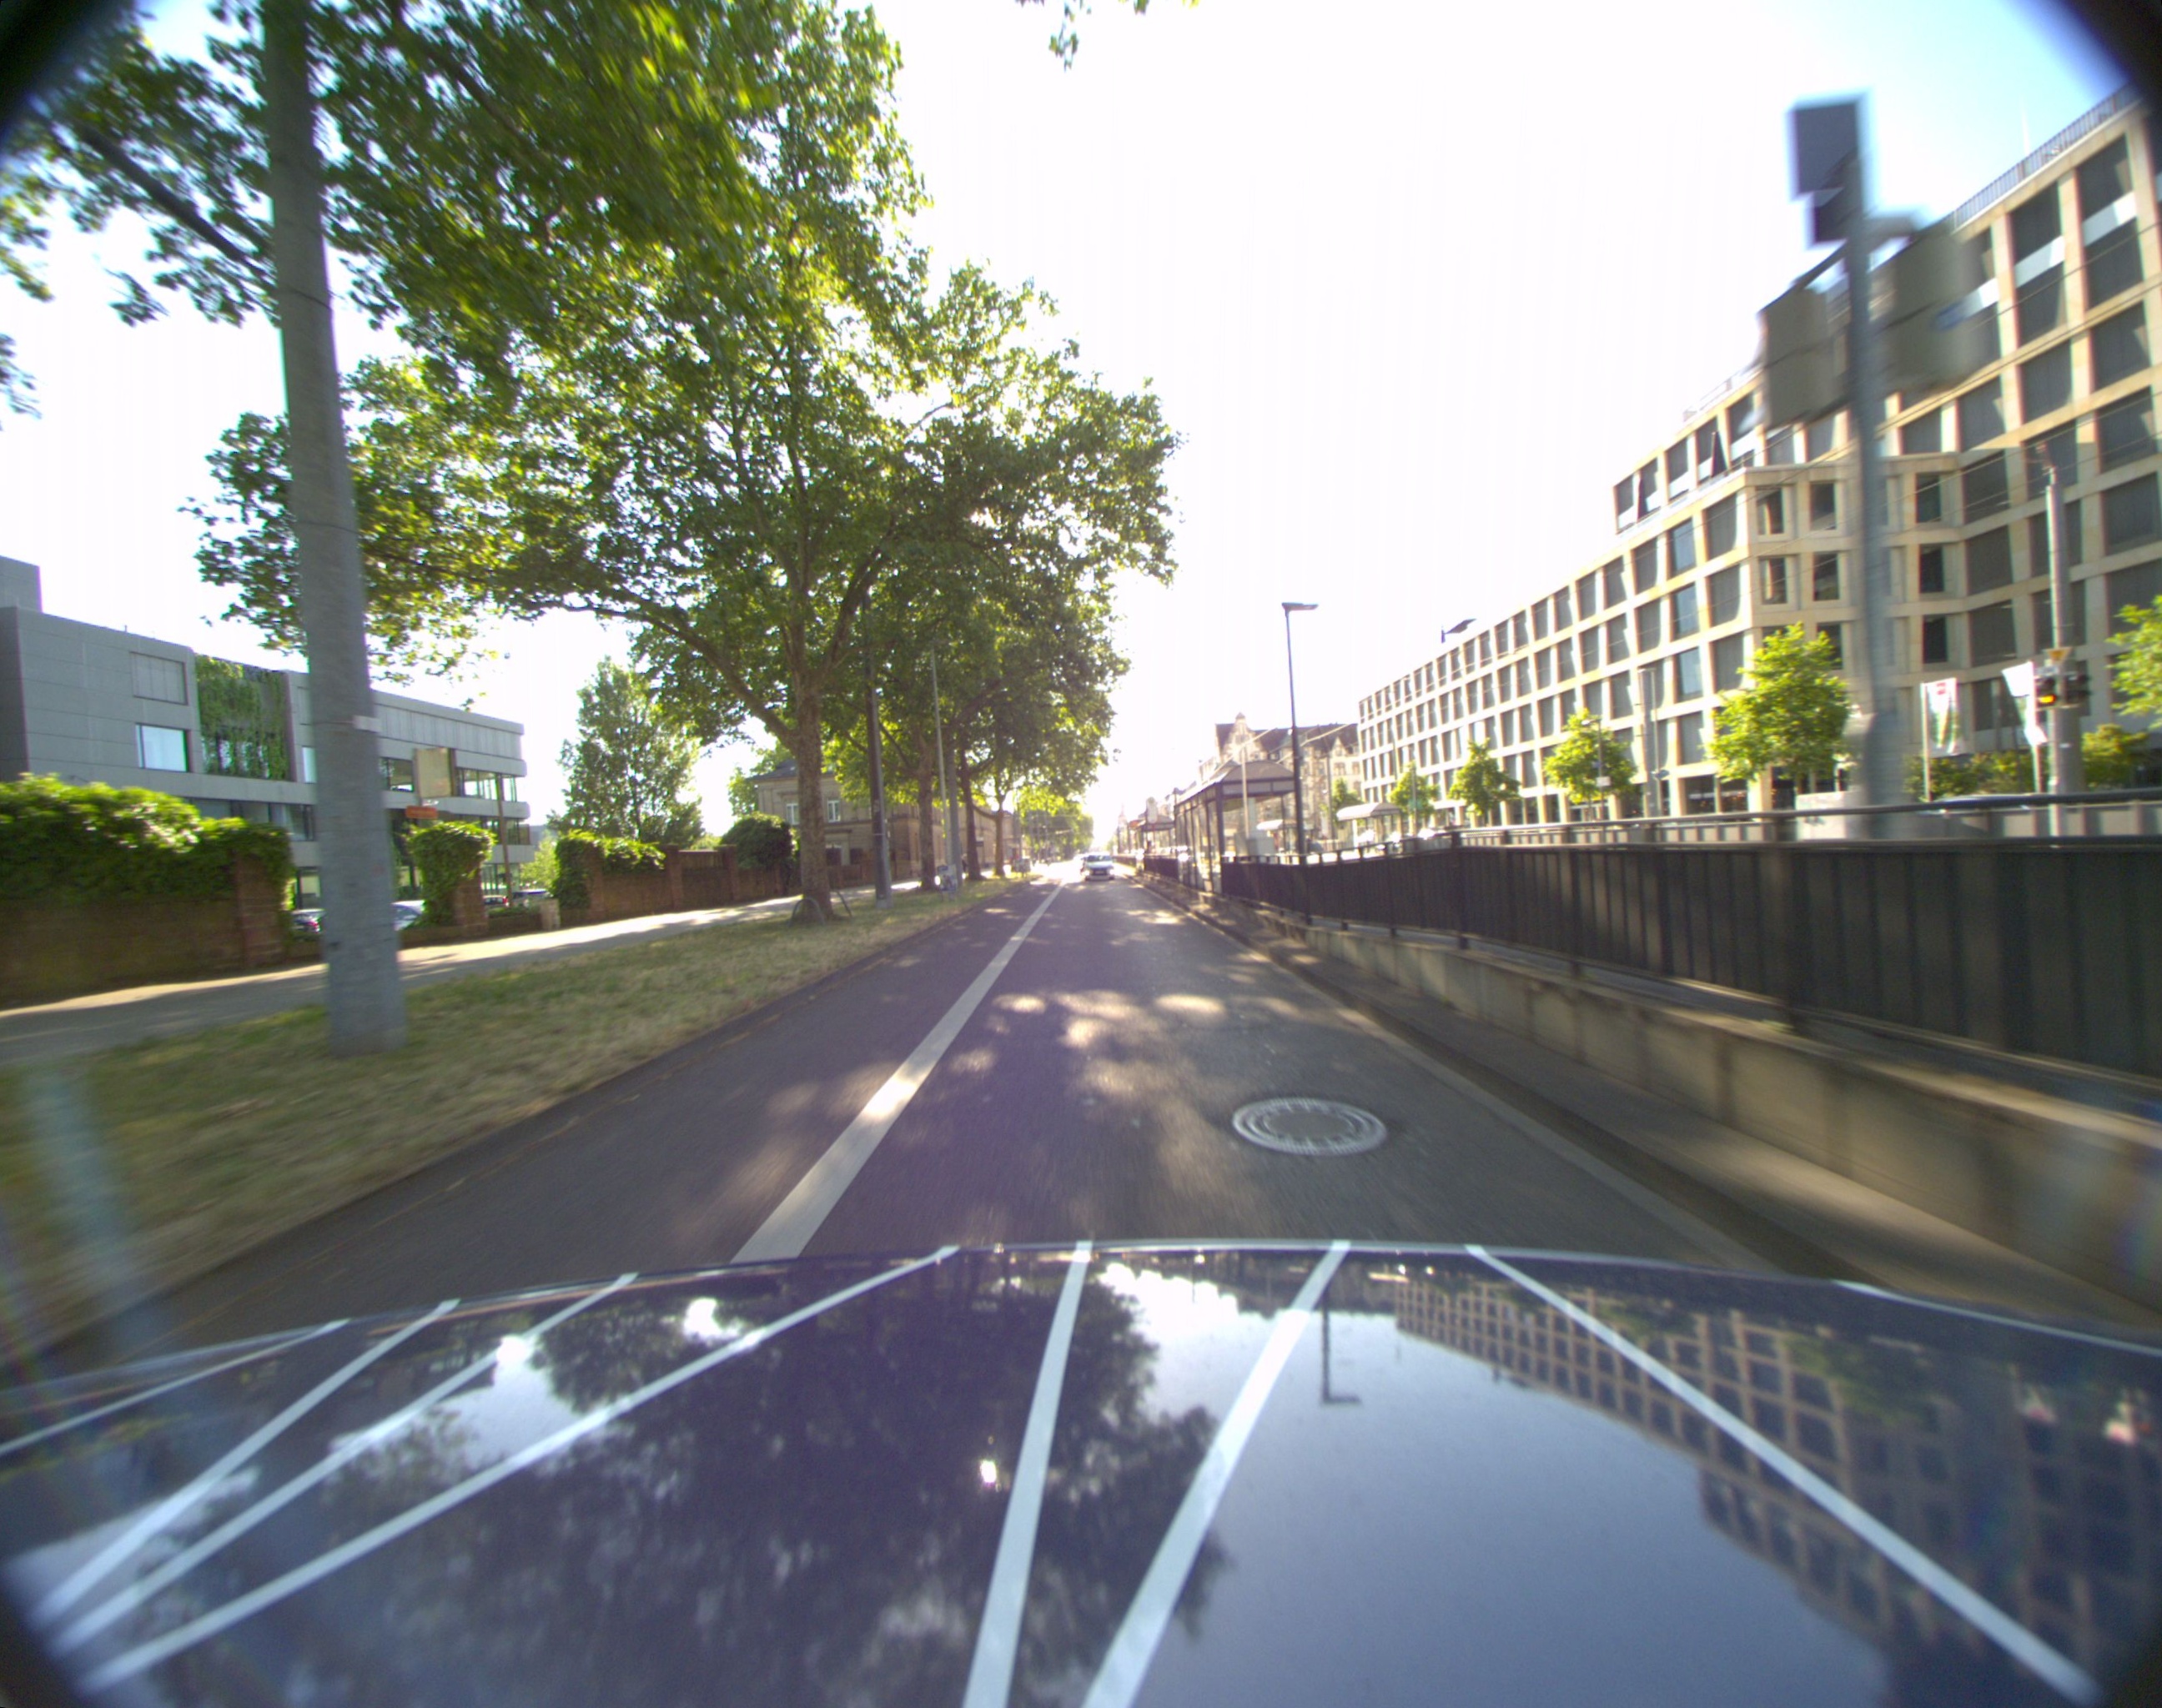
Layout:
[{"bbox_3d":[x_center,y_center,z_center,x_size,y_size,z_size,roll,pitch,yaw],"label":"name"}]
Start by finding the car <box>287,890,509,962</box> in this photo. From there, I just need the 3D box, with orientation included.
[{"bbox_3d":[-19.082,1.973,21.441,4.117,1.512,2.040,-4,1,-8],"label":"car"}]

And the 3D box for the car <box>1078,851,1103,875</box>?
[{"bbox_3d":[0.663,0.606,54.467,1.649,1.555,3.666,-5,0,0],"label":"car"}]

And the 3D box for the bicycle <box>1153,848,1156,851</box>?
[{"bbox_3d":[20.856,-1.257,215.625,0.607,0.996,2.068,-4,0,-2],"label":"bicycle"}]

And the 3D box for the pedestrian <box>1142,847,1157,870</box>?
[{"bbox_3d":[3.912,0.251,43.670,0.743,1.266,0.524,-4,1,0],"label":"pedestrian"}]

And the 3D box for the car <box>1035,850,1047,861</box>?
[{"bbox_3d":[-8.040,0.331,153.765,1.833,2.034,4.000,-5,1,4],"label":"car"}]

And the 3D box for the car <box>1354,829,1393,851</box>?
[{"bbox_3d":[26.217,-1.256,68.208,1.923,1.759,4.000,-4,0,1],"label":"car"}]

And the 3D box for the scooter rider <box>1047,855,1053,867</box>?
[{"bbox_3d":[-3.835,0.847,94.215,0.703,1.389,0.600,-4,1,1],"label":"scooter rider"}]

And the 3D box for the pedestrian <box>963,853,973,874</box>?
[{"bbox_3d":[-9.490,0.802,63.719,0.771,1.734,0.796,-2,1,-6],"label":"pedestrian"}]

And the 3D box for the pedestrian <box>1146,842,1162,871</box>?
[{"bbox_3d":[3.917,0.115,40.847,0.747,1.500,0.666,-3,1,3],"label":"pedestrian"}]

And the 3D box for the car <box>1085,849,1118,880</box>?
[{"bbox_3d":[1.105,0.534,42.495,1.649,1.555,3.666,-4,0,0],"label":"car"}]

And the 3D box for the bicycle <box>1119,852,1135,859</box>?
[{"bbox_3d":[5.807,0.184,96.533,1.888,0.873,0.608,-4,1,9],"label":"bicycle"}]

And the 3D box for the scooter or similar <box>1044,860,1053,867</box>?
[{"bbox_3d":[-3.983,1.145,94.132,1.023,0.807,0.265,-4,1,0],"label":"scooter or similar"}]

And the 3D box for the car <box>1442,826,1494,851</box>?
[{"bbox_3d":[25.934,-1.021,51.073,1.649,1.502,3.600,-4,0,1],"label":"car"}]

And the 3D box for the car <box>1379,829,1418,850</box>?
[{"bbox_3d":[26.018,-1.132,62.278,1.649,1.553,3.650,-4,0,1],"label":"car"}]

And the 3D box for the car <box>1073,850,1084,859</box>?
[{"bbox_3d":[-0.477,0.109,149.037,1.833,1.645,3.999,-5,1,1],"label":"car"}]
